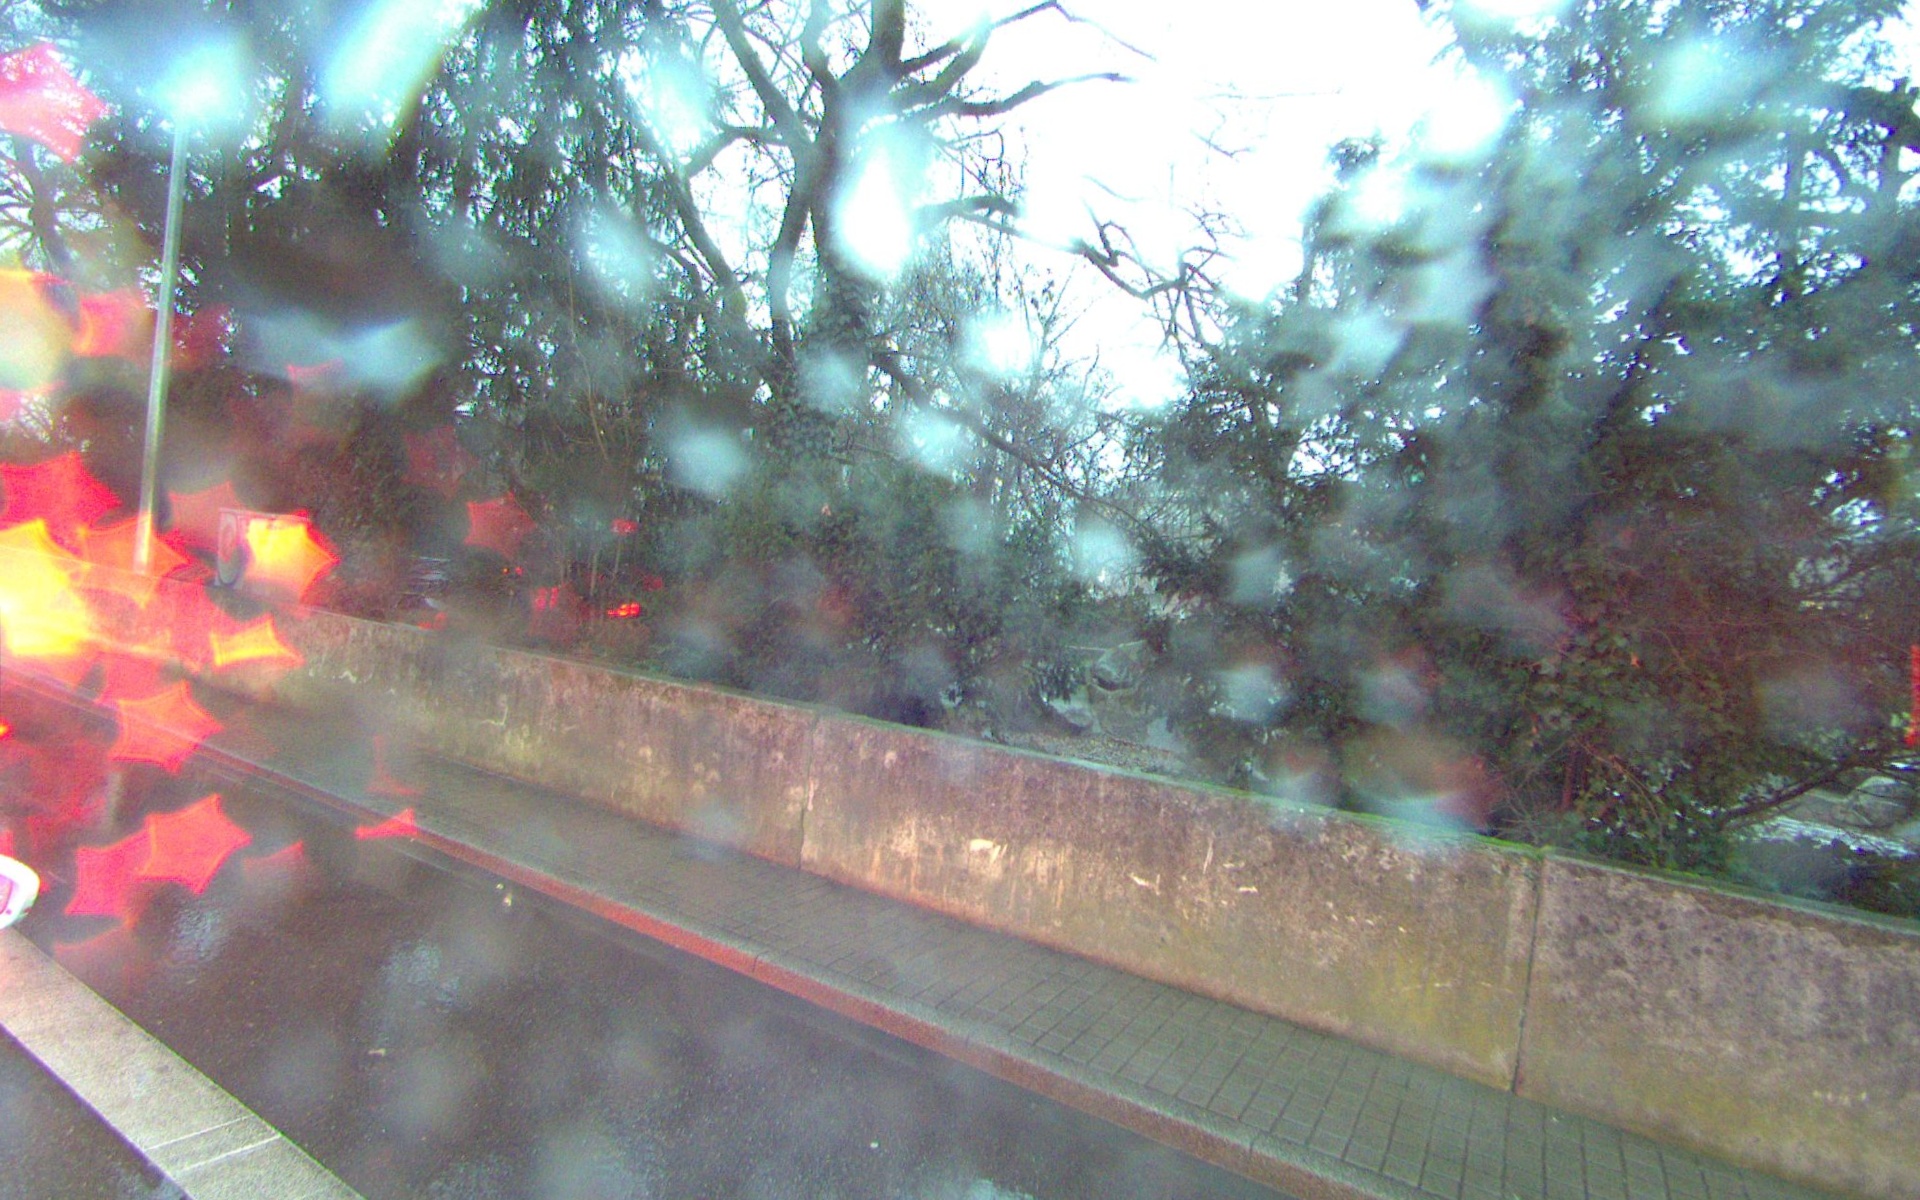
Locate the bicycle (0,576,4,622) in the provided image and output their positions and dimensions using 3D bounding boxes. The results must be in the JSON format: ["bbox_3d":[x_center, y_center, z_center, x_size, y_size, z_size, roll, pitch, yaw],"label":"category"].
[{"bbox_3d":[-6.625,0.231,6.168,2.014,0.979,0.645,7,1,34],"label":"bicycle"}]
